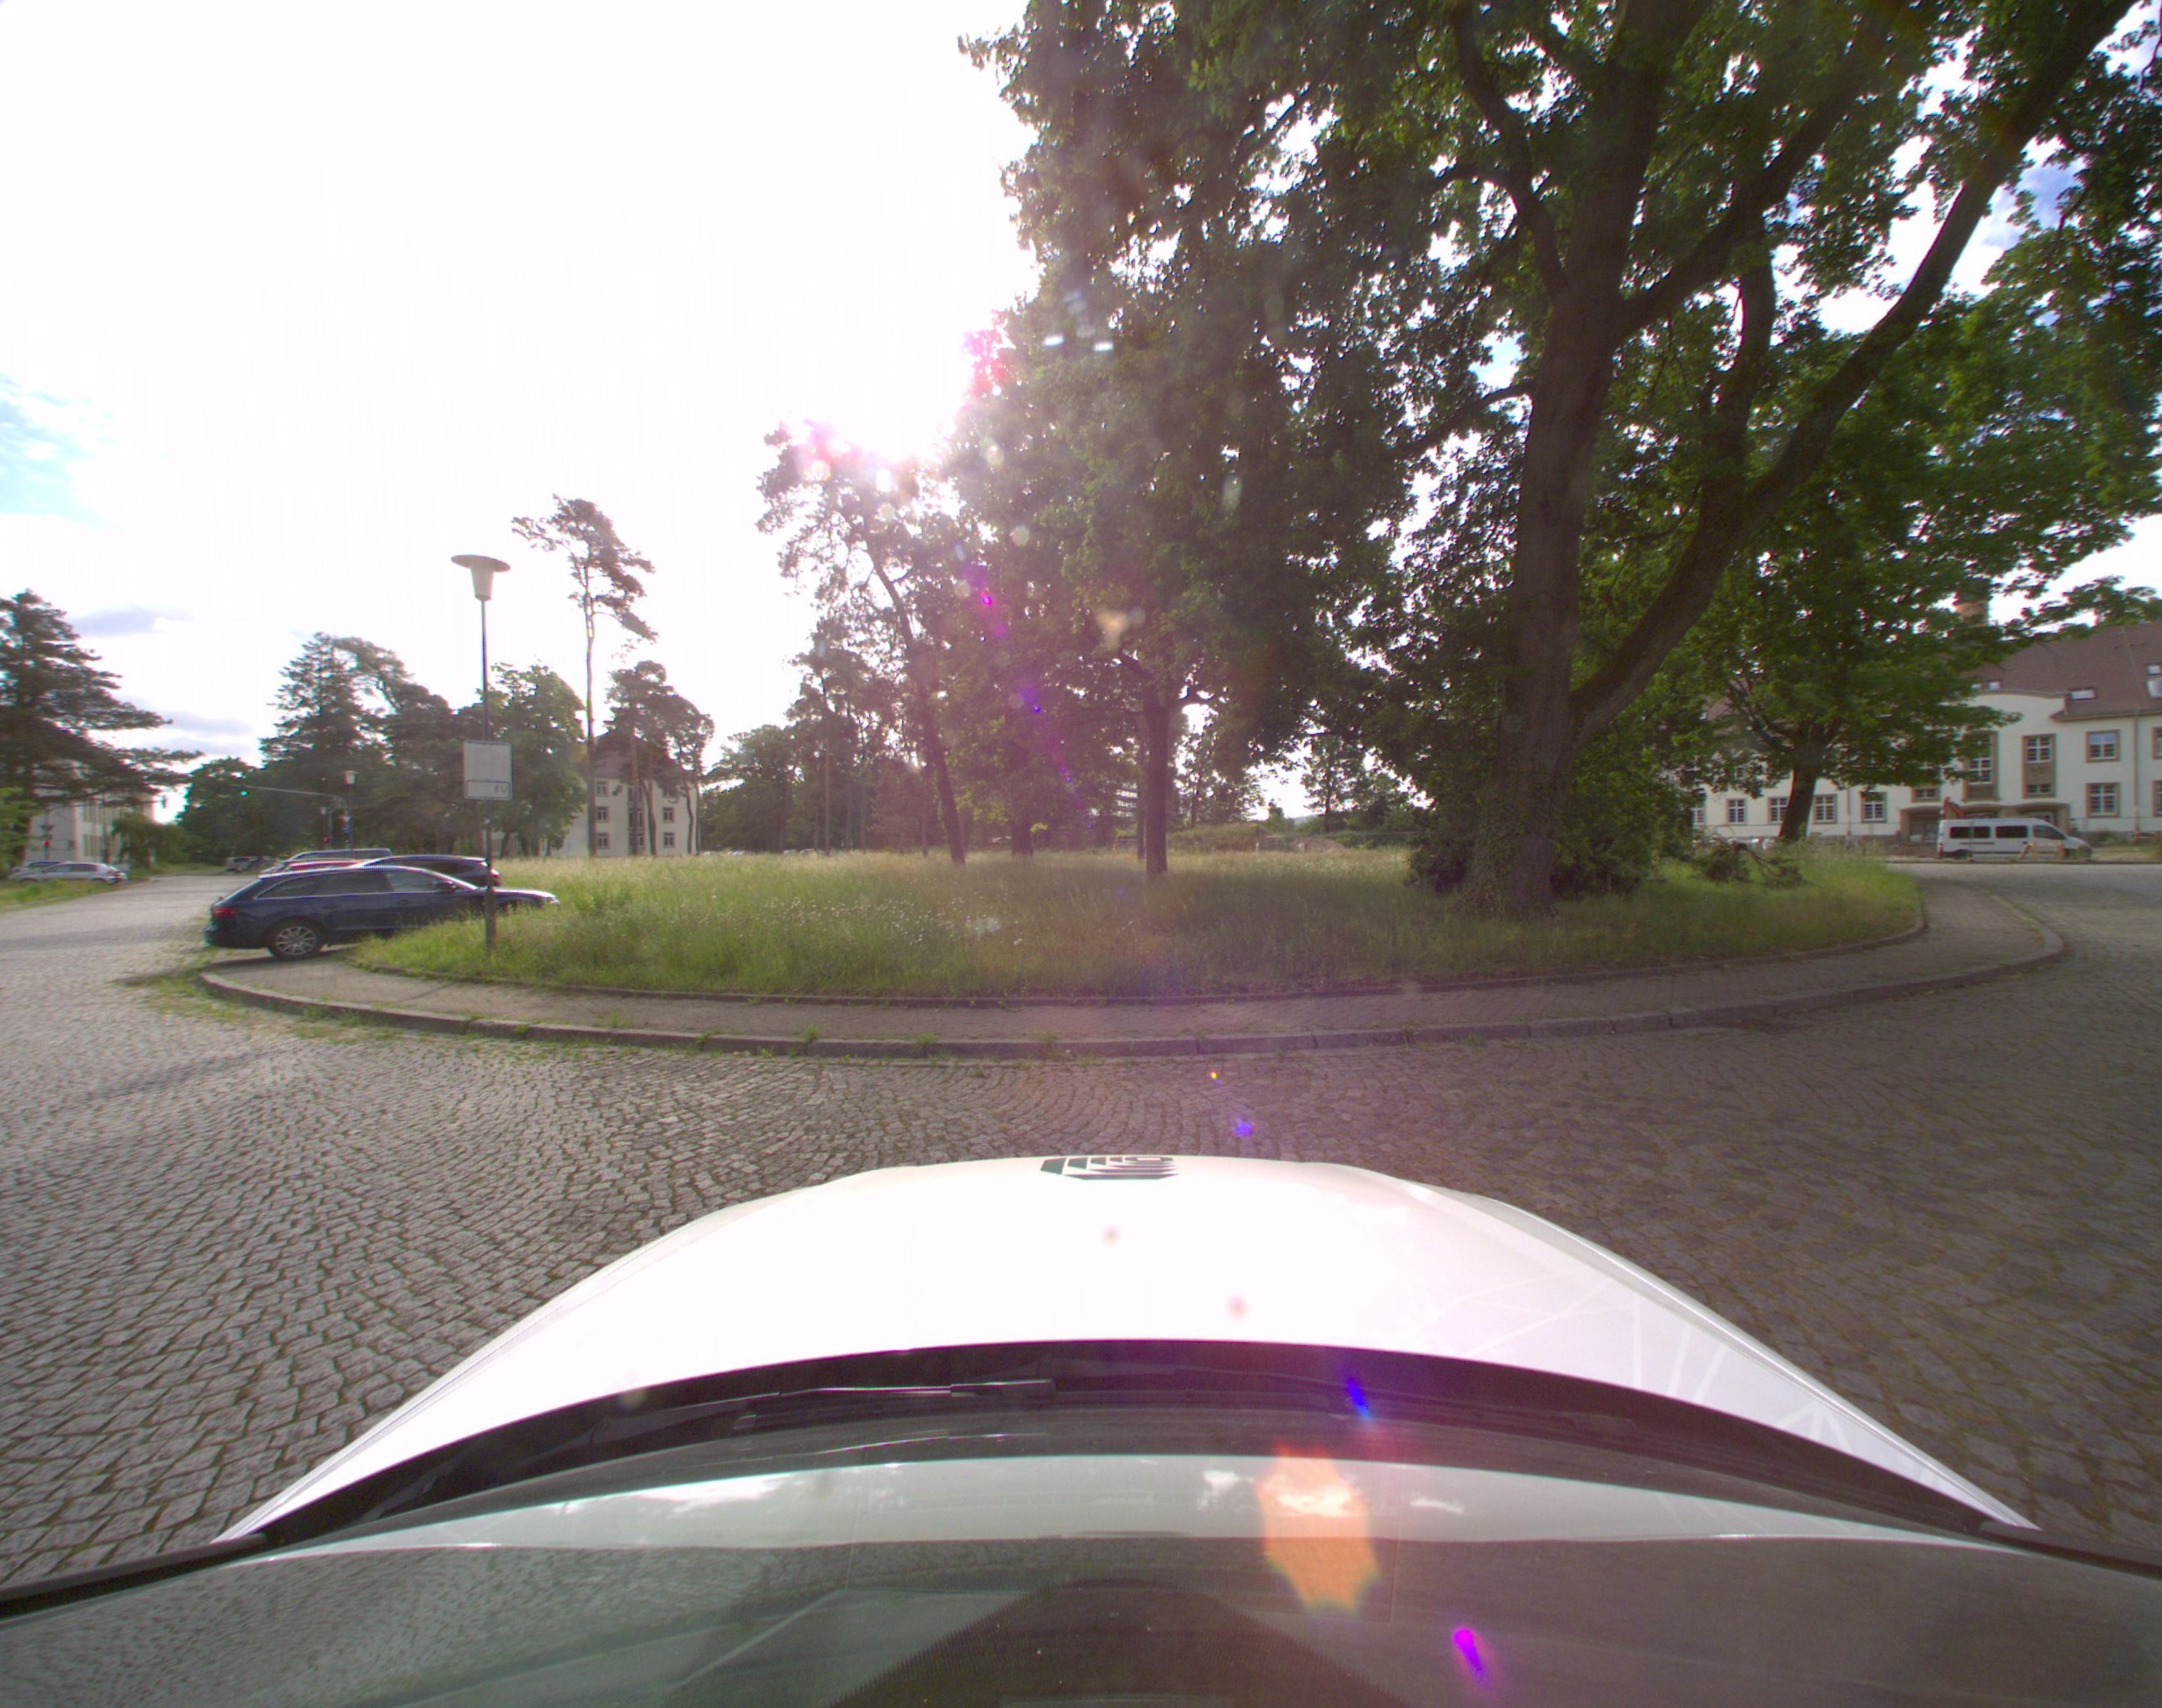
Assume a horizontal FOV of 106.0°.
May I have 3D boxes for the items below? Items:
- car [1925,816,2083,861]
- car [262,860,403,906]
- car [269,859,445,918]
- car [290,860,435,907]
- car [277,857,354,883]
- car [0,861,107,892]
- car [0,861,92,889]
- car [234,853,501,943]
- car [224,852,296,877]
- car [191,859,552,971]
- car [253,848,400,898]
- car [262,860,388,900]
[{"bbox_3d":[48.962,-0.832,43.431,2.139,2.206,5.464,-5,4,-44],"label":"car"},{"bbox_3d":[-29.470,1.103,32.127,1.798,1.603,3.942,-1,0,43],"label":"car"},{"bbox_3d":[-22.186,0.993,25.052,1.651,1.478,3.920,-1,2,45],"label":"car"},{"bbox_3d":[-27.009,1.059,30.699,3.977,1.520,1.686,-2,1,-44],"label":"car"},{"bbox_3d":[-51.889,1.049,55.270,1.607,1.431,3.478,0,4,36],"label":"car"},{"bbox_3d":[-59.099,1.241,46.898,1.606,1.437,3.756,1,4,42],"label":"car"},{"bbox_3d":[-63.616,1.260,49.897,1.605,1.437,3.756,0,3,38],"label":"car"},{"bbox_3d":[-15.291,0.834,17.632,1.768,1.573,4.177,1,2,44],"label":"car"},{"bbox_3d":[-100.905,1.243,100.151,2.734,2.561,5.837,0,4,40],"label":"car"},{"bbox_3d":[-11.999,0.915,14.151,4.470,1.479,1.662,-3,1,-41],"label":"car"},{"bbox_3d":[-35.609,0.822,38.537,2.135,1.865,4.867,0,4,44],"label":"car"},{"bbox_3d":[-33.888,1.105,36.567,1.721,1.392,3.957,1,4,44],"label":"car"}]
